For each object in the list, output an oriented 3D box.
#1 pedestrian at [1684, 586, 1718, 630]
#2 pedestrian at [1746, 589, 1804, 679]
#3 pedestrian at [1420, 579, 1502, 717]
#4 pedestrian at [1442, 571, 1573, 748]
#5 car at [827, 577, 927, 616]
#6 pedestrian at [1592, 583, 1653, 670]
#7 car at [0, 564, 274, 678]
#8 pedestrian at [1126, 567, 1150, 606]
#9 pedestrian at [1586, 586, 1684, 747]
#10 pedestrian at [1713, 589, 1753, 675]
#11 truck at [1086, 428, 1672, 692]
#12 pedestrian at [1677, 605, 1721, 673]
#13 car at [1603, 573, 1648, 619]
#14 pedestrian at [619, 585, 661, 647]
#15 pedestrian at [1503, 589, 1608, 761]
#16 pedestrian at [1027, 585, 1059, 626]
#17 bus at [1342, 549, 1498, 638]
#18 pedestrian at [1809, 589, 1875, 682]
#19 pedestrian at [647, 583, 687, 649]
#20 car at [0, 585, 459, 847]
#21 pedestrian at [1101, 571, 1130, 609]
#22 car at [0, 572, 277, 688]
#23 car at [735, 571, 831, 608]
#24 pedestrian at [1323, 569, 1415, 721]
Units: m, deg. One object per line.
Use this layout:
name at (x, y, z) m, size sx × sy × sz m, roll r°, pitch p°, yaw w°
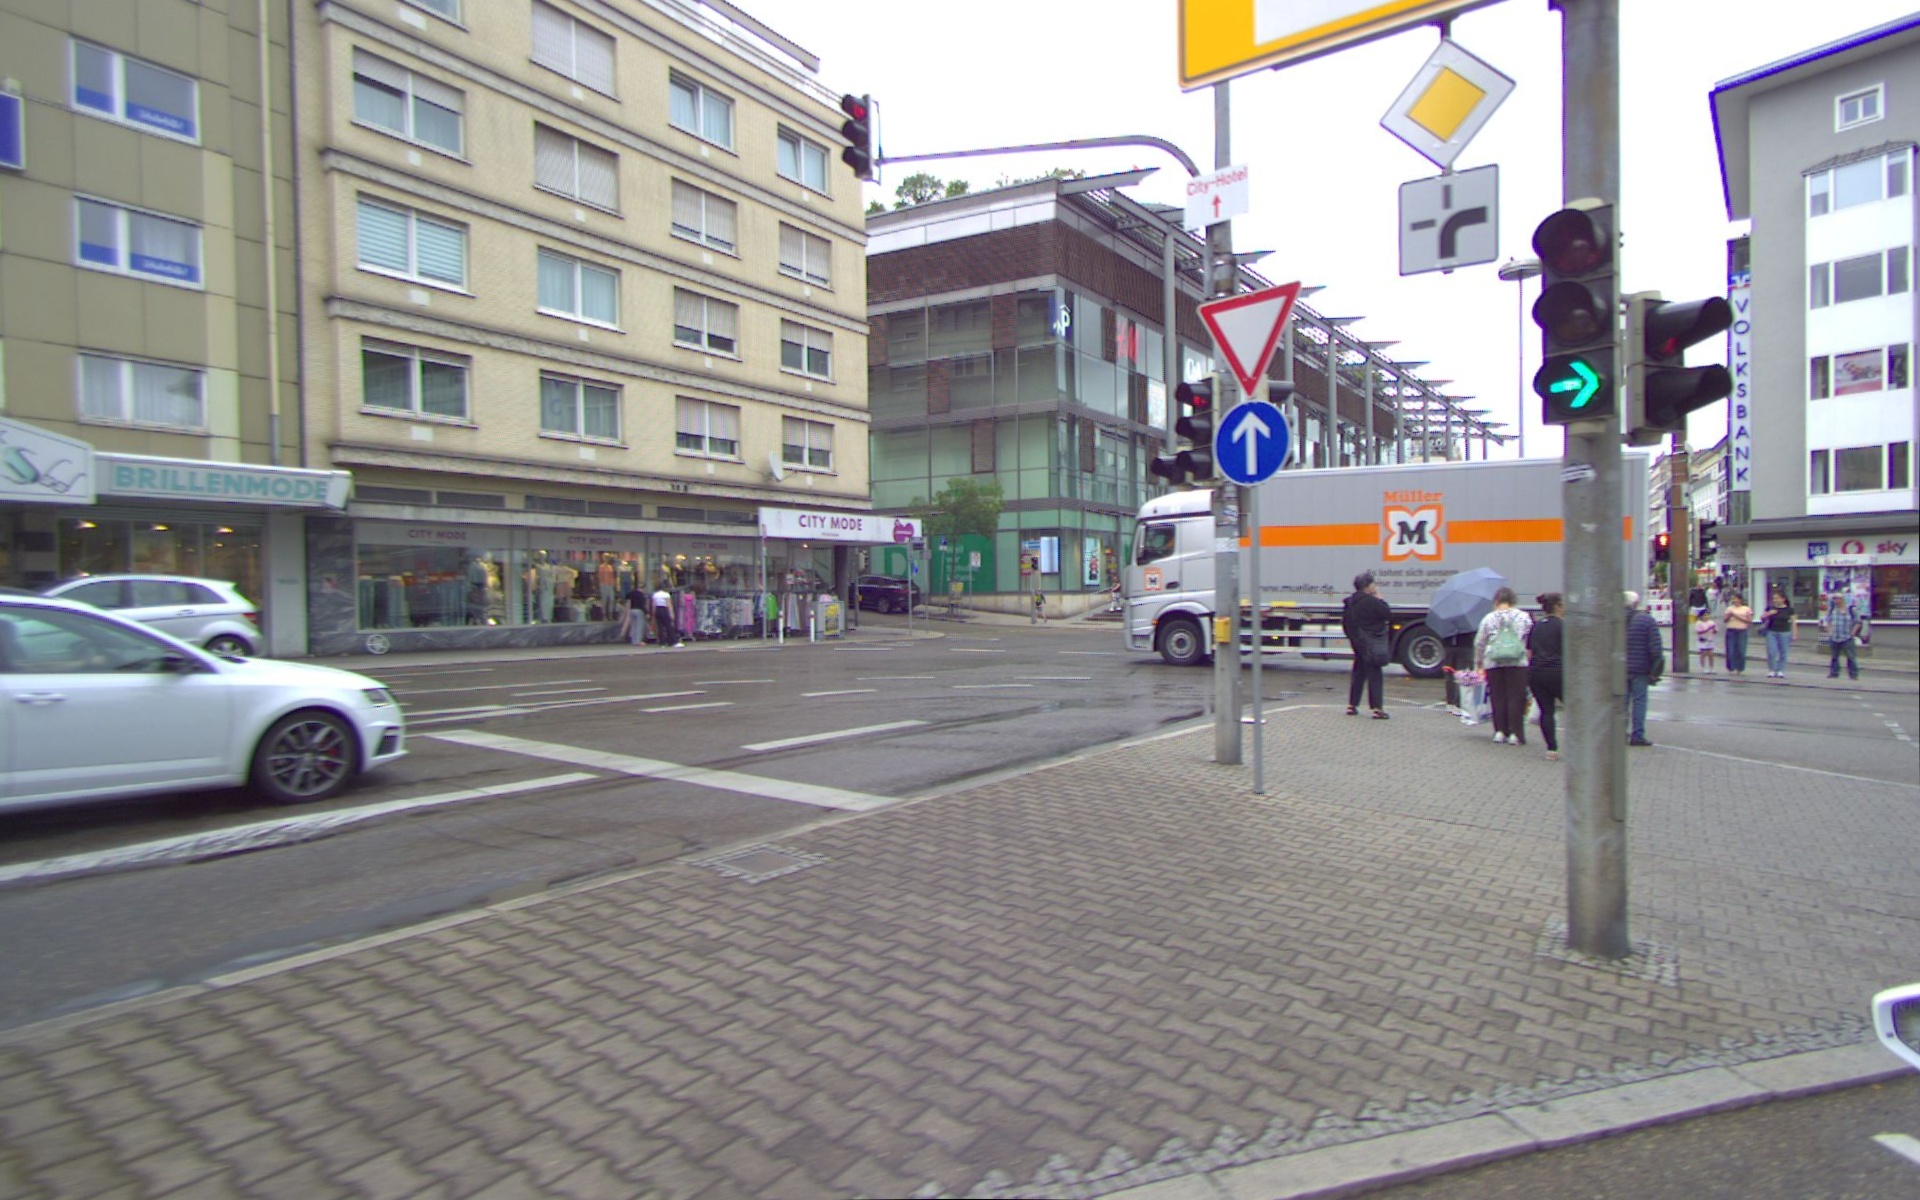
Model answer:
pedestrian at (31.326, 0.339, 42.486) m, size 1.007 × 1.799 × 0.798 m, roll 2°, pitch 1°, yaw 31°
pedestrian at (16.110, 0.653, 19.851) m, size 0.634 × 1.712 × 0.773 m, roll 0°, pitch 2°, yaw -45°
pedestrian at (6.494, 0.602, 13.008) m, size 0.747 × 1.714 × 0.690 m, roll 3°, pitch 0°, yaw 41°
pedestrian at (5.649, 0.568, 10.365) m, size 0.967 × 1.695 × 0.910 m, roll 3°, pitch 2°, yaw 42°
car at (-3.790, -0.187, 45.999) m, size 4.217 × 1.567 × 1.803 m, roll 3°, pitch 2°, yaw 27°
pedestrian at (14.339, 0.558, 21.773) m, size 0.995 × 1.811 × 0.851 m, roll 2°, pitch 1°, yaw 30°
car at (-13.275, 0.278, 15.470) m, size 1.678 × 1.584 × 4.184 m, roll 1°, pitch 1°, yaw 38°
pedestrian at (9.362, -0.709, 52.723) m, size 0.869 × 2.007 × 0.971 m, roll 1°, pitch 1°, yaw 36°
pedestrian at (7.059, 0.664, 10.494) m, size 0.704 × 1.589 × 0.850 m, roll 3°, pitch 1°, yaw 41°
pedestrian at (15.600, 0.637, 20.266) m, size 0.563 × 1.691 × 0.499 m, roll 1°, pitch 1°, yaw 43°
truck at (8.051, -0.740, 20.748) m, size 10.583 × 4.391 × 2.849 m, roll 1°, pitch 1°, yaw 32°
pedestrian at (15.187, 0.783, 20.648) m, size 0.621 × 1.357 × 0.586 m, roll 2°, pitch 1°, yaw 31°
car at (45.839, -0.274, 69.202) m, size 2.411 × 2.997 × 6.134 m, roll 2°, pitch 1°, yaw 34°
pedestrian at (-8.282, 0.399, 26.015) m, size 0.774 × 1.557 × 0.679 m, roll 2°, pitch 1°, yaw 34°
pedestrian at (5.534, 0.671, 9.336) m, size 0.696 × 1.507 × 0.557 m, roll 3°, pitch 0°, yaw 41°
pedestrian at (3.618, 0.230, 43.666) m, size 0.994 × 1.736 × 1.035 m, roll 1°, pitch 1°, yaw -26°
bus at (21.701, -0.216, 46.272) m, size 2.882 × 3.365 × 18.410 m, roll 2°, pitch 0°, yaw 36°
pedestrian at (17.645, 0.699, 20.115) m, size 0.817 × 1.802 × 0.616 m, roll 2°, pitch 1°, yaw 31°
pedestrian at (-7.433, 0.394, 25.531) m, size 0.830 × 1.649 × 0.774 m, roll 1°, pitch 1°, yaw -7°
car at (-5.830, 0.629, 6.222) m, size 1.768 × 1.434 × 4.616 m, roll 0°, pitch 0°, yaw 35°
pedestrian at (7.317, -0.457, 47.110) m, size 1.024 × 1.736 × 1.005 m, roll 1°, pitch 1°, yaw 31°
car at (-13.384, 0.383, 15.484) m, size 1.823 × 1.571 × 4.385 m, roll 3°, pitch 2°, yaw 35°
car at (-8.565, -0.550, 48.627) m, size 4.299 × 1.567 × 1.896 m, roll 3°, pitch 4°, yaw 27°
pedestrian at (4.894, 0.513, 12.015) m, size 0.774 × 1.734 × 0.703 m, roll 3°, pitch 1°, yaw 41°
